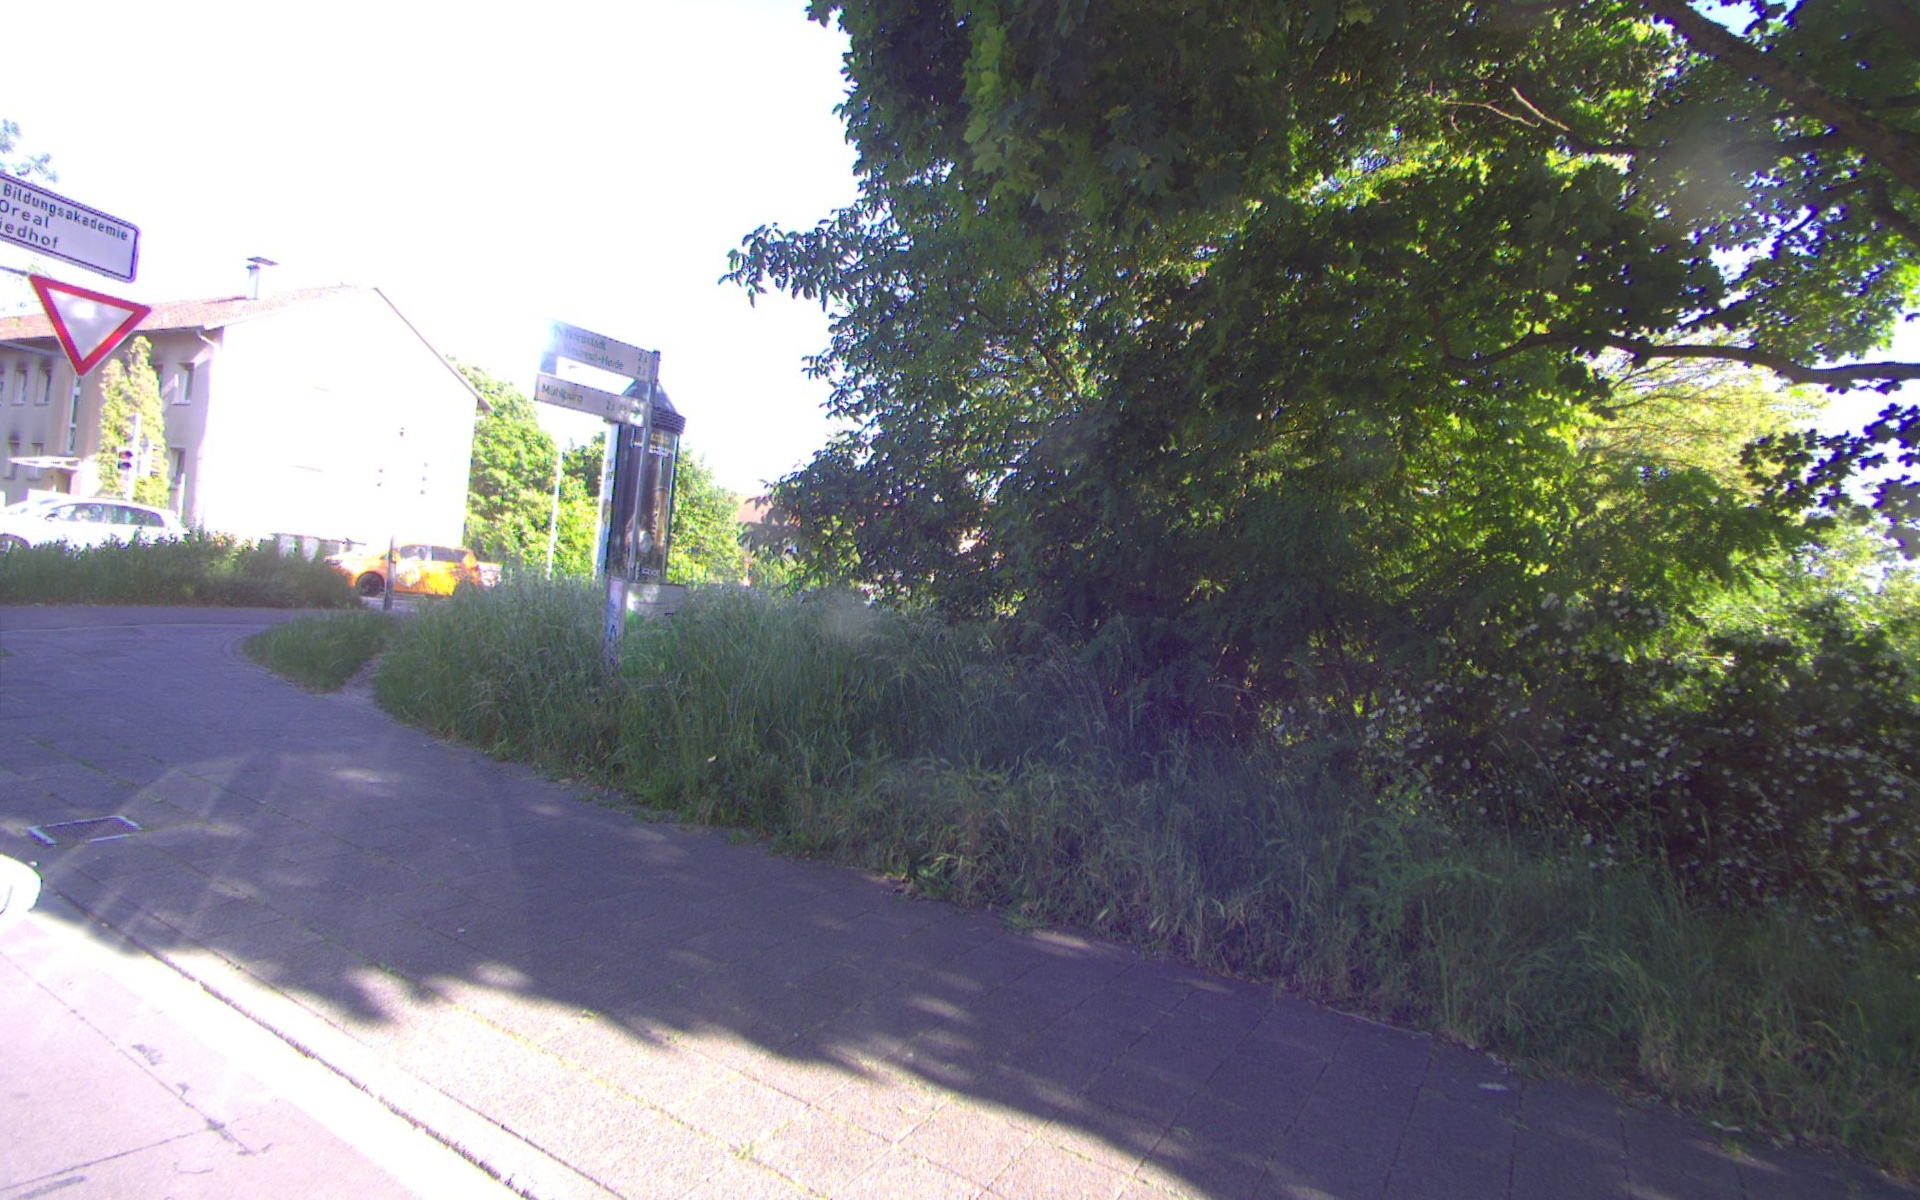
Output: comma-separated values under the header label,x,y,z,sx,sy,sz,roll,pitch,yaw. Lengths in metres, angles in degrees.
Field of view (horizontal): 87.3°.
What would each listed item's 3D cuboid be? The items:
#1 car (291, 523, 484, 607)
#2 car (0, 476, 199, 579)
label,x,y,z,sx,sy,sz,roll,pitch,yaw
car,-15.006,-0.870,26.582,1.728,1.601,3.995,6,-2,31
car,-18.486,-1.533,20.640,1.727,1.581,4.117,6,-2,29
